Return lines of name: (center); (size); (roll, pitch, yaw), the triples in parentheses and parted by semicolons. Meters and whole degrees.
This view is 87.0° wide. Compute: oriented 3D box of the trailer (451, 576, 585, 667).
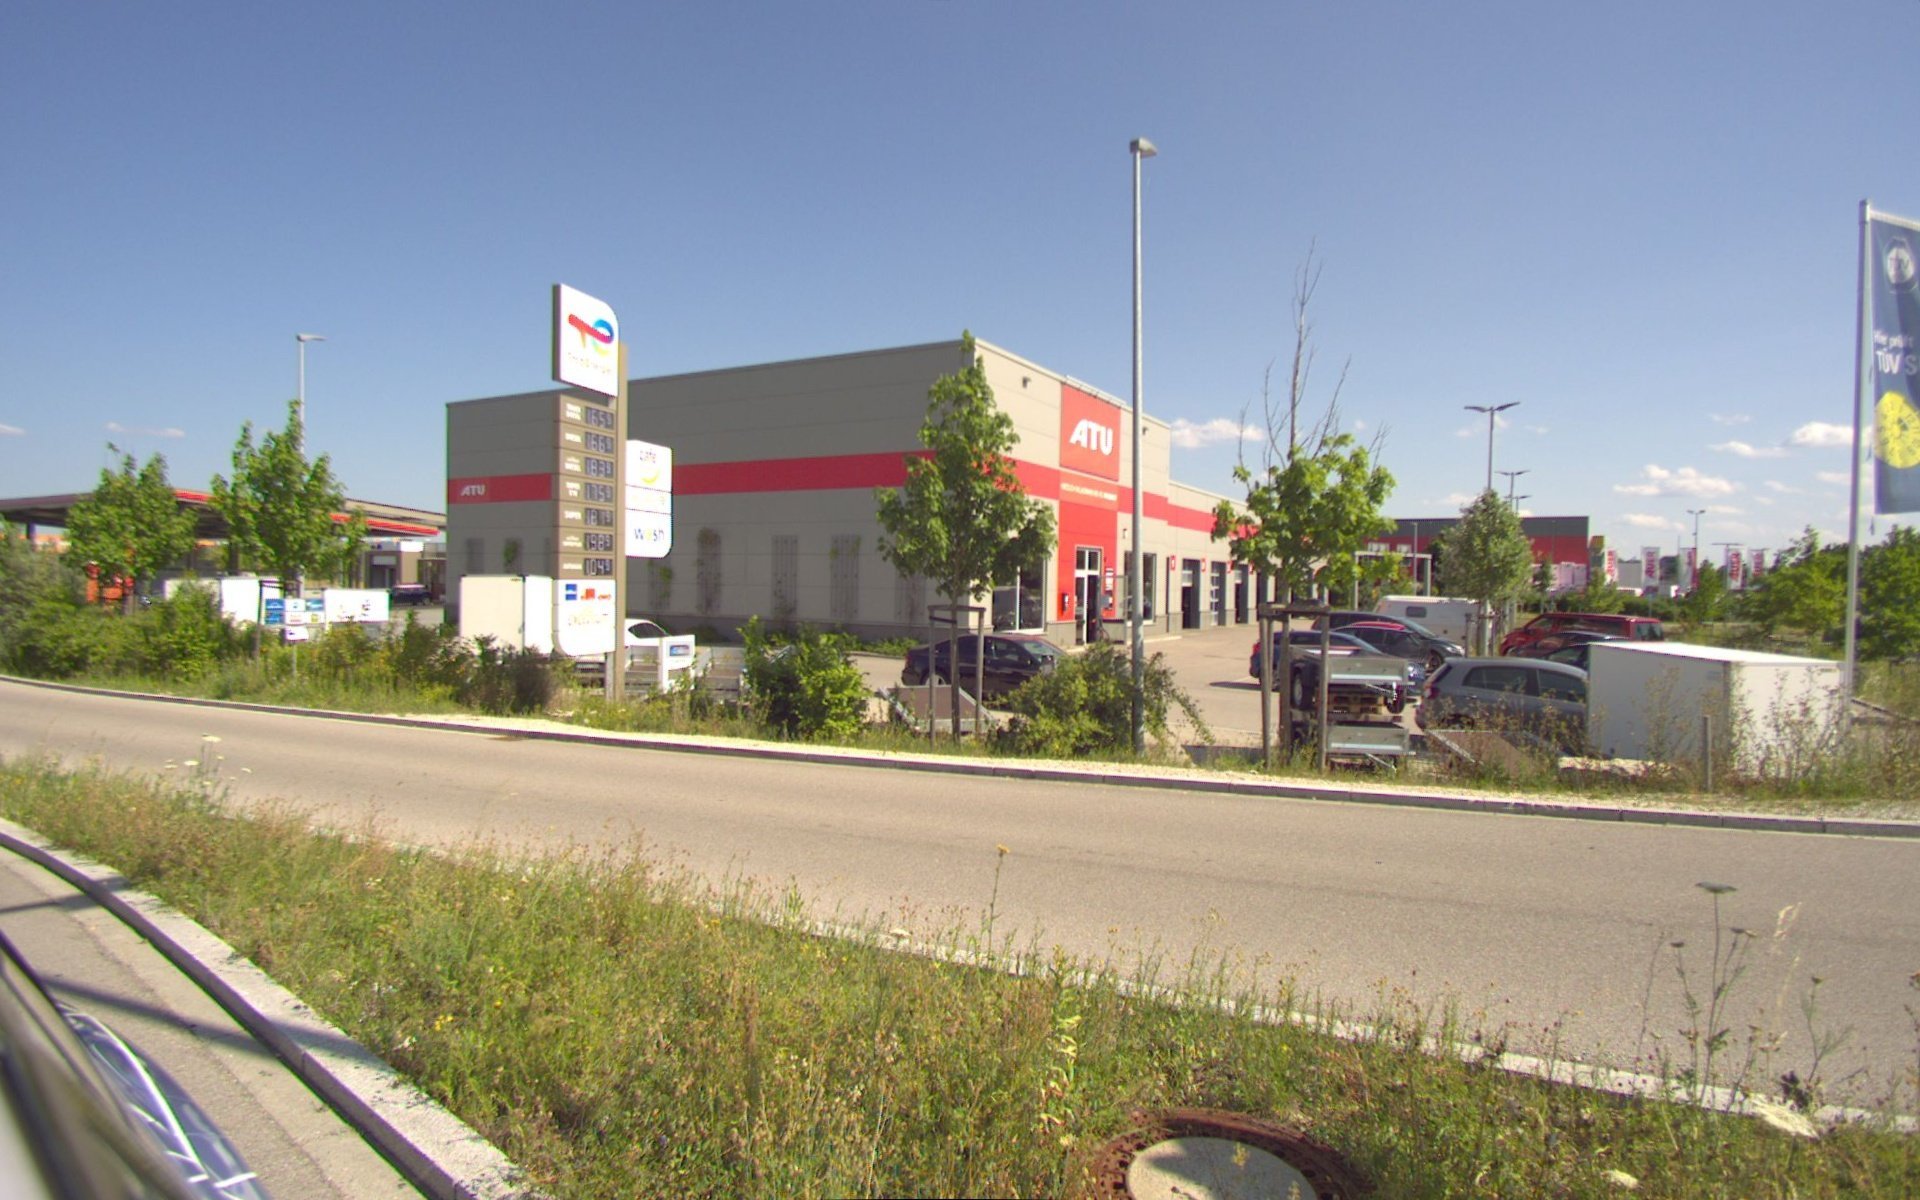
trailer: (-10.574, 0.470, 24.442); (1.724, 2.029, 3.238); (0, 1, 2)

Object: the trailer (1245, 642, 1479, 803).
trailer: (5.494, 1.593, 14.371); (1.782, 1.785, 3.697); (0, 1, -1)

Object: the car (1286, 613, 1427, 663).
car: (12.845, 1.186, 32.864); (3.990, 1.475, 1.804); (0, 1, 34)

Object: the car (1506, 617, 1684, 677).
car: (18.240, 1.293, 29.266); (1.794, 1.475, 4.013); (-1, 1, -25)

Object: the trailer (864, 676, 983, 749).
trailer: (-0.546, 1.853, 17.142); (1.841, 0.888, 2.837); (0, 1, 1)

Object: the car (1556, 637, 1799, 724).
car: (15.882, 1.723, 22.648); (1.794, 1.475, 4.014); (2, 1, -25)

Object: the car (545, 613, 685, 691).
car: (-7.938, 1.145, 23.687); (1.697, 1.548, 3.995); (0, 1, 4)

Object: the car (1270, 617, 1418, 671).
car: (11.833, 1.299, 31.232); (3.990, 1.475, 1.804); (0, 1, 34)

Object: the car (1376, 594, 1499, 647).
car: (19.256, 0.792, 40.845); (4.332, 2.029, 1.884); (0, 1, 30)

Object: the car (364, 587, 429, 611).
car: (-39.706, -0.094, 71.366); (1.694, 1.586, 3.637); (0, 1, 39)

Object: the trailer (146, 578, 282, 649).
trailer: (-22.550, 0.357, 30.742); (1.969, 2.029, 3.211); (0, 1, -6)

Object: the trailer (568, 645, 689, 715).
trailer: (-6.262, 1.481, 19.364); (1.303, 1.094, 2.773); (0, 1, 3)

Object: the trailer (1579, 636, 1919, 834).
trailer: (9.688, 1.482, 12.461); (1.782, 1.785, 3.698); (-1, 2, -1)

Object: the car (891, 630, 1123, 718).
car: (0.902, 1.426, 20.720); (4.486, 1.495, 1.783); (0, 0, 34)

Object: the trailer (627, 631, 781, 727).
trailer: (-4.658, 1.387, 18.837); (1.533, 1.495, 3.179); (0, 1, 12)

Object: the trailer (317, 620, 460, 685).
trailer: (-15.344, 1.373, 27.404); (1.580, 1.521, 3.594); (-1, 1, 6)

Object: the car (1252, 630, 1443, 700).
car: (9.032, 1.457, 23.623); (3.983, 1.475, 1.807); (0, -2, 29)

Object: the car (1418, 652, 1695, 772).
car: (9.607, 1.722, 16.518); (3.731, 1.563, 1.725); (0, 1, 32)

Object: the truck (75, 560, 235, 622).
truck: (-46.363, -0.521, 58.544); (2.624, 3.343, 6.854); (0, 1, 22)

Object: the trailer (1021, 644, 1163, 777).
trailer: (1.943, 1.618, 15.903); (1.684, 1.462, 3.698); (0, 3, -1)

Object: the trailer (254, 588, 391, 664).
trailer: (-17.795, 0.676, 28.380); (1.975, 2.029, 2.732); (0, 1, 6)

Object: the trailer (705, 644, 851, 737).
trailer: (-3.140, 1.535, 17.942); (1.378, 1.332, 2.895); (0, 1, 17)

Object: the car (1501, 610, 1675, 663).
car: (19.929, 1.093, 32.325); (1.794, 1.475, 4.470); (-1, 1, -25)

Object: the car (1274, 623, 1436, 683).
car: (11.174, 1.452, 28.707); (3.990, 1.475, 1.804); (0, 1, 34)
